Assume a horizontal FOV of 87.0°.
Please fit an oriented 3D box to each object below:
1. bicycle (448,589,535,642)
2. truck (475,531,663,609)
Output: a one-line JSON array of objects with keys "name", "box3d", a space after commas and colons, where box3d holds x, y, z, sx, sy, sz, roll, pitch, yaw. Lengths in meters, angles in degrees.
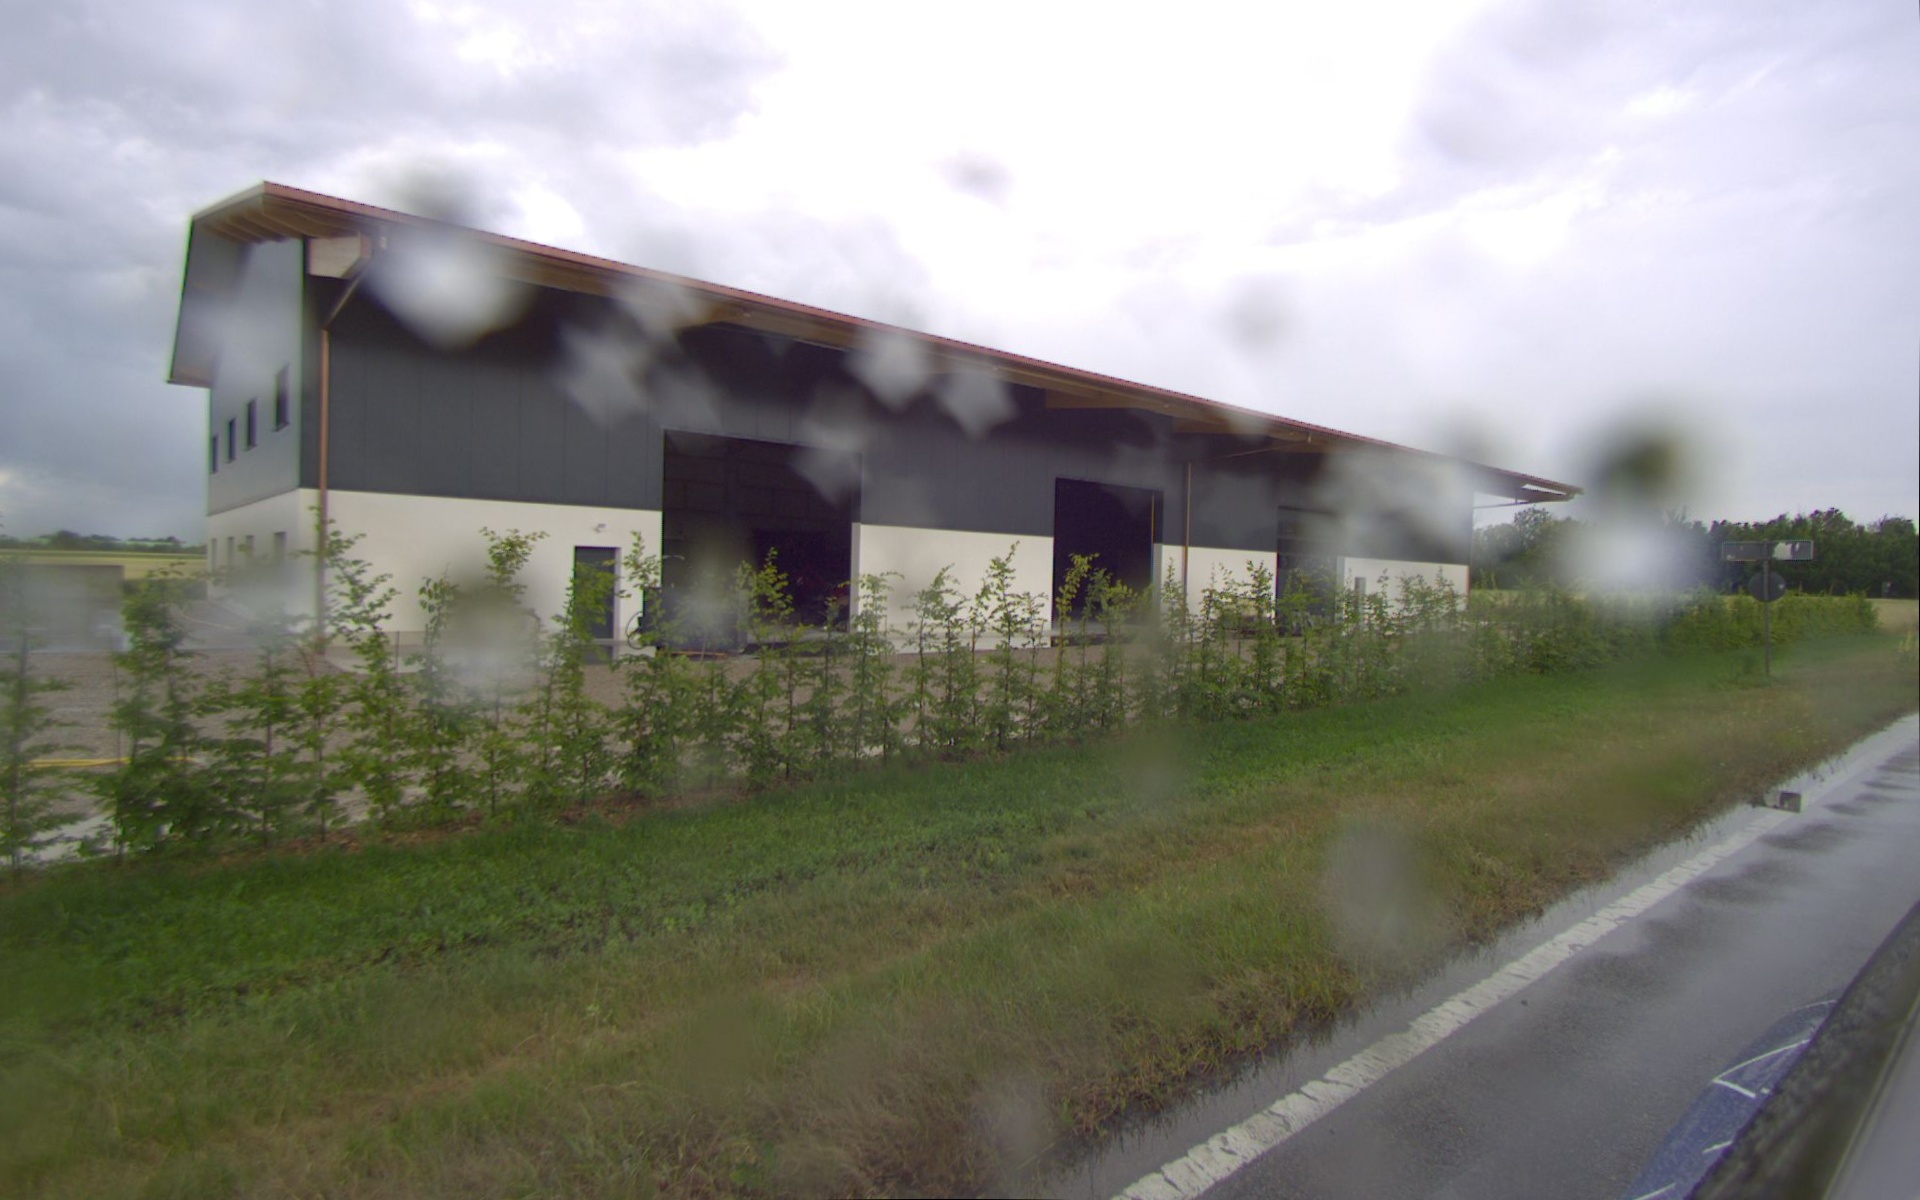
[{"name": "bicycle", "box3d": [-9.957, 0.308, 21.543, 1.631, 1.085, 0.391, 0, 2, -41]}, {"name": "truck", "box3d": [-14.230, -1.073, 37.110, 6.047, 2.639, 2.122, 0, 2, -40]}]
